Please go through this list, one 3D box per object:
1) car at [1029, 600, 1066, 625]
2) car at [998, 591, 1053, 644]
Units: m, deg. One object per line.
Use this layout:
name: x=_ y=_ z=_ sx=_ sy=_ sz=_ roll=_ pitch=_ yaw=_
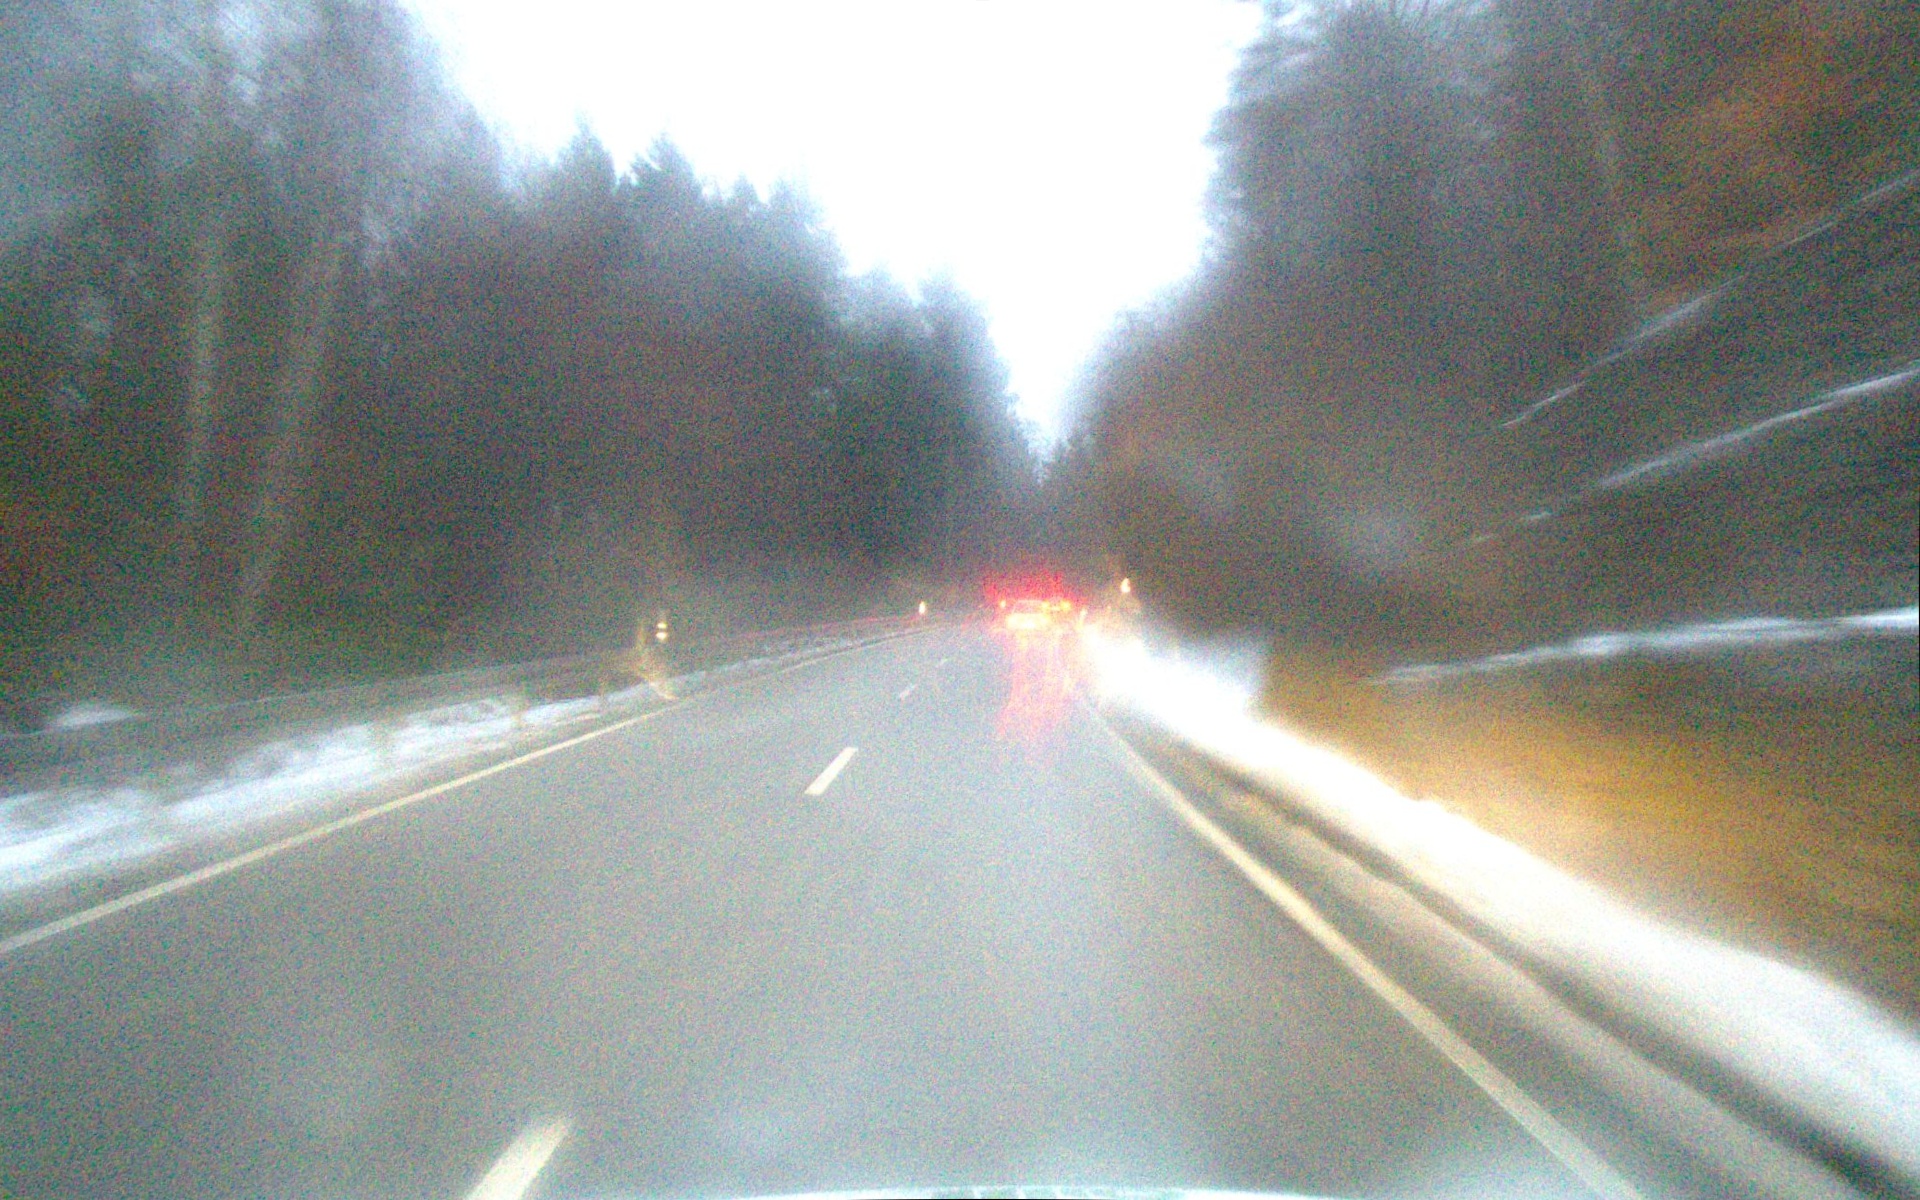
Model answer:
car: x=5.354 y=0.733 z=101.528 sx=1.953 sy=1.333 sz=4.000 roll=-4 pitch=0 yaw=0
car: x=2.586 y=0.675 z=66.037 sx=1.953 sy=1.905 sz=4.000 roll=-4 pitch=0 yaw=0
